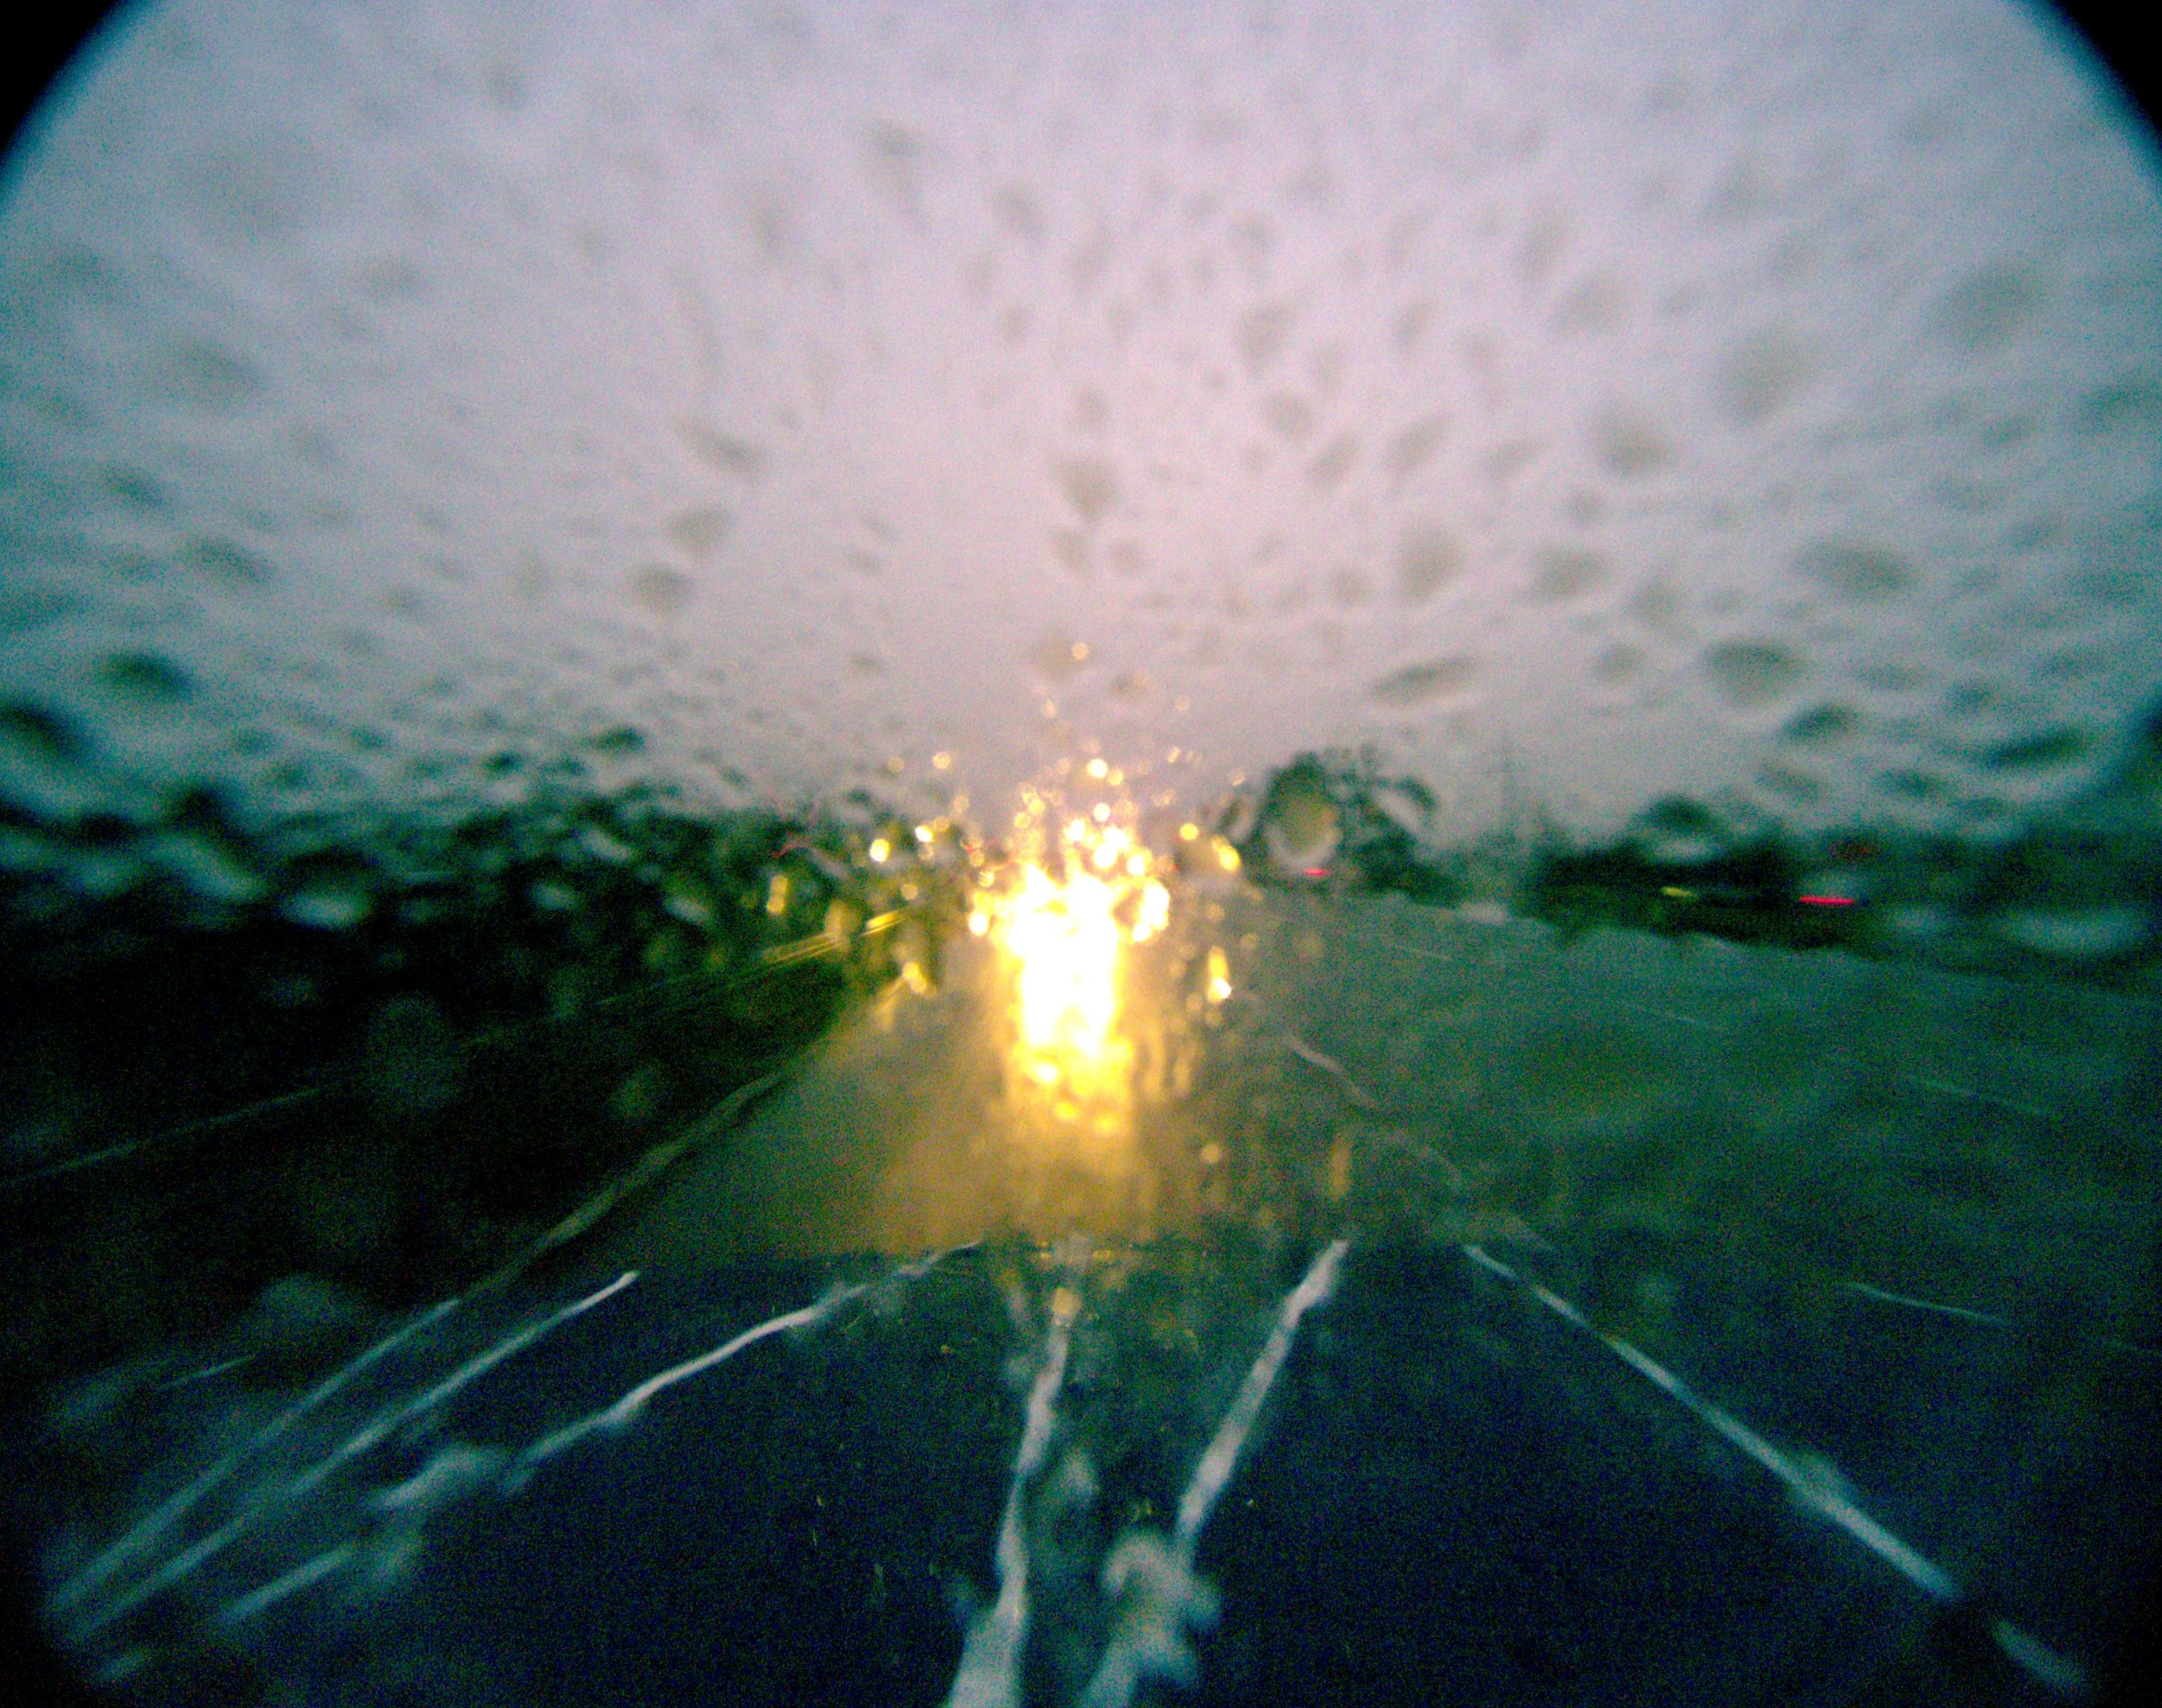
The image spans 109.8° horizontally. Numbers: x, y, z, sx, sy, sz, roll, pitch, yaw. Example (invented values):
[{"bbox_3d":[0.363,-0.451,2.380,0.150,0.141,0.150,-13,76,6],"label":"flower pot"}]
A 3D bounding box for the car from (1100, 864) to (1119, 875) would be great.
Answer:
[{"bbox_3d":[3.846,2.063,102.007,1.999,1.463,4.471,1,0,-4],"label":"car"}]

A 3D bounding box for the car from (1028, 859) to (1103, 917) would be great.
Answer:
[{"bbox_3d":[-0.367,0.947,22.853,1.886,1.513,4.001,-2,0,3],"label":"car"}]

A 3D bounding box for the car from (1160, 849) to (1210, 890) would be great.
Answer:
[{"bbox_3d":[5.801,0.823,42.929,1.877,2.124,5.179,1,0,-2],"label":"car"}]

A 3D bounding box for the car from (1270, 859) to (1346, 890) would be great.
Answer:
[{"bbox_3d":[12.627,1.162,42.428,1.923,1.622,3.852,2,-3,-26],"label":"car"}]

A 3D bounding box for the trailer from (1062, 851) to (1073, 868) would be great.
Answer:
[{"bbox_3d":[-3.793,1.480,210.283,2.635,4.557,13.322,1,0,-3],"label":"trailer"}]

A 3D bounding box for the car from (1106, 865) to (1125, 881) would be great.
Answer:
[{"bbox_3d":[3.609,1.990,80.301,1.651,1.492,3.999,1,0,-2],"label":"car"}]

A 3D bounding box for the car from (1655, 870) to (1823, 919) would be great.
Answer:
[{"bbox_3d":[24.062,1.455,28.007,4.276,1.665,2.004,0,-2,21],"label":"car"}]

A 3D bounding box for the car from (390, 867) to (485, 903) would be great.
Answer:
[{"bbox_3d":[-54.620,2.594,64.569,6.383,2.948,2.290,-1,-1,4],"label":"car"}]
